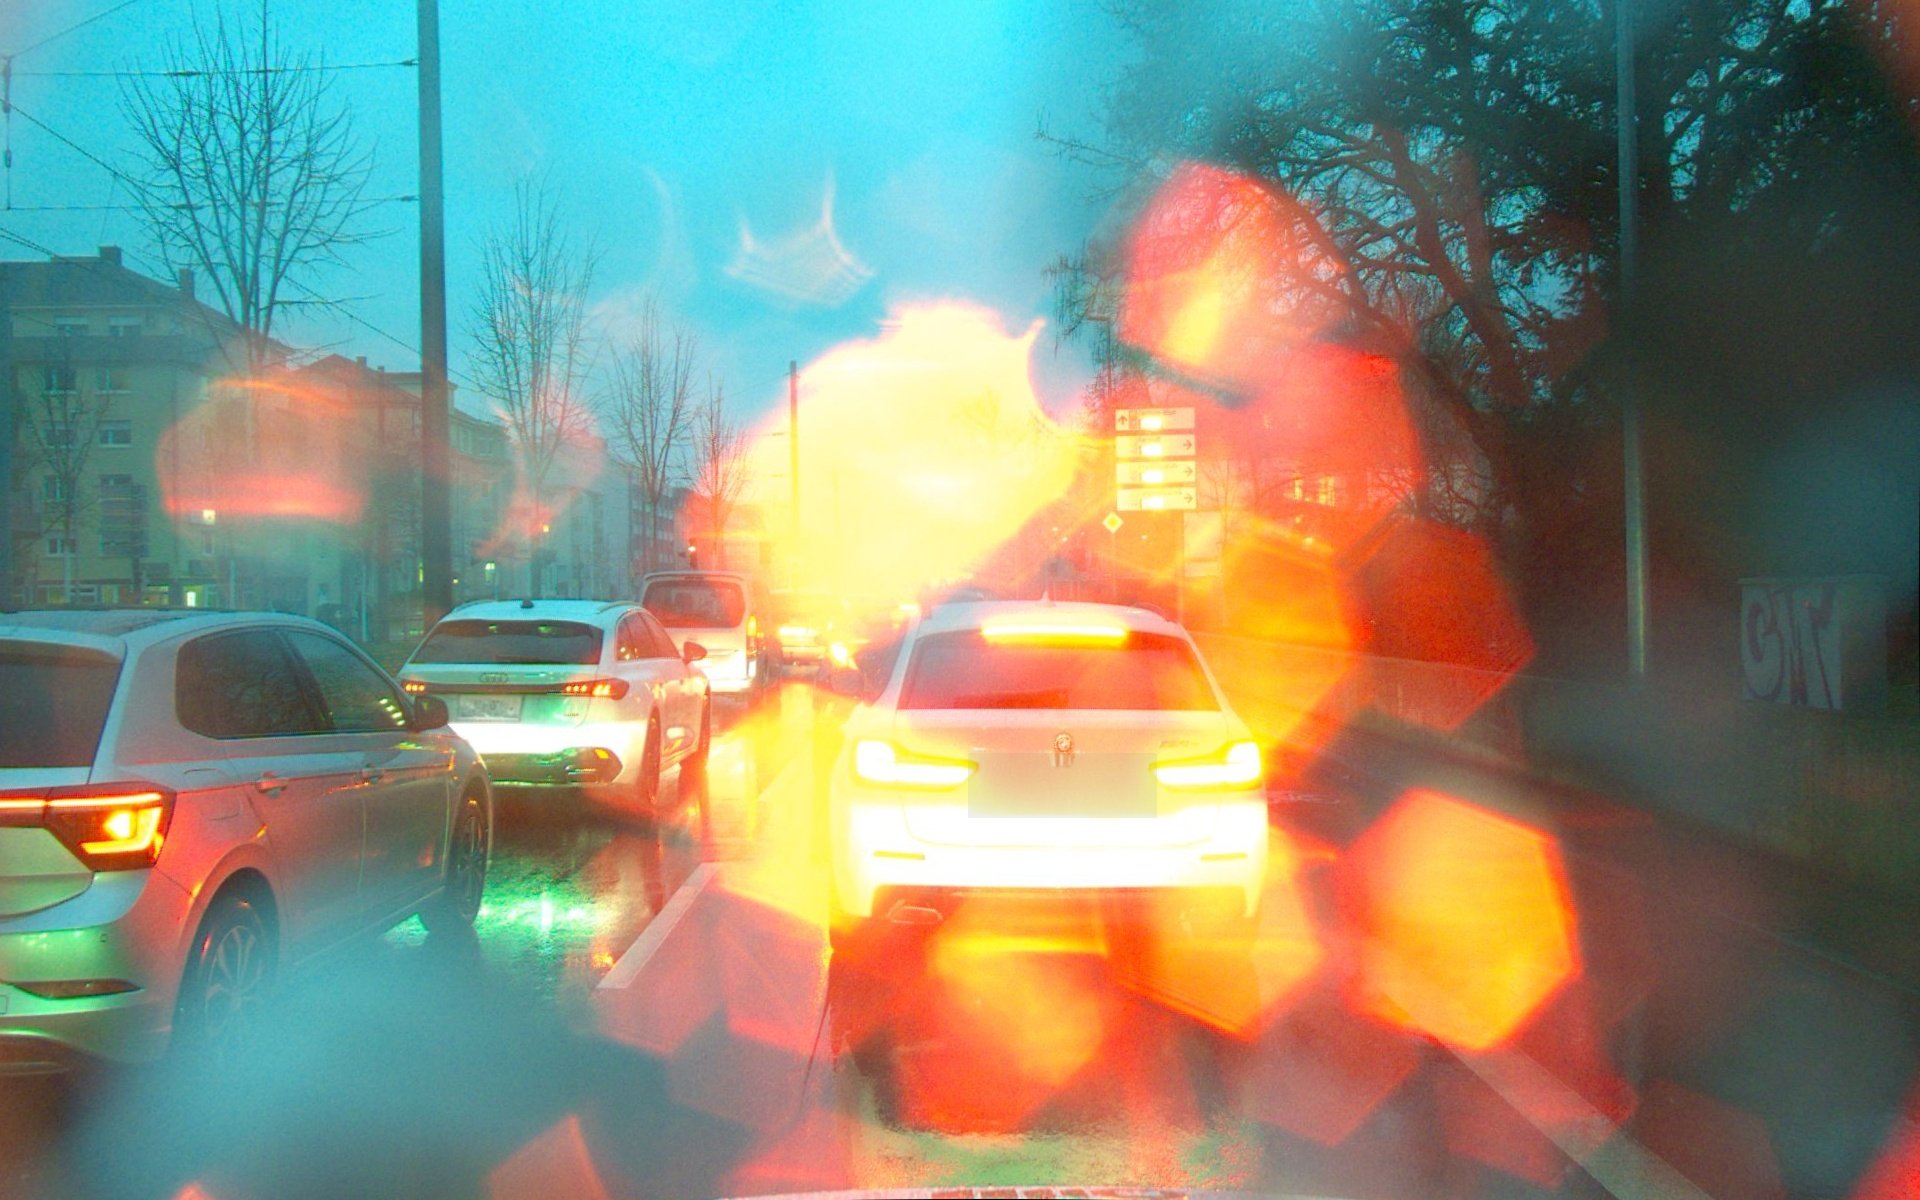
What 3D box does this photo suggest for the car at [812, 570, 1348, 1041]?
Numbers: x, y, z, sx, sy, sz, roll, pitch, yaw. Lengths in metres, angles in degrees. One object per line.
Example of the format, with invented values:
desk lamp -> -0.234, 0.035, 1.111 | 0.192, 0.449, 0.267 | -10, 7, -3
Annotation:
car -> 0.381, 0.693, 8.175 | 1.825, 1.583, 4.937 | -1, 0, -1

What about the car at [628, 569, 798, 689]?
car -> -3.272, 0.349, 22.653 | 1.702, 1.444, 4.393 | -1, 0, -1

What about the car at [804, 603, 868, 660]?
car -> -3.020, 0.748, 40.758 | 1.335, 1.339, 2.716 | 1, 0, 0

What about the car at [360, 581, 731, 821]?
car -> -2.962, 0.630, 12.851 | 1.762, 1.492, 4.585 | -1, 0, -1

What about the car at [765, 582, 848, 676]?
car -> -2.886, 0.540, 31.499 | 1.476, 1.681, 2.842 | 1, 0, -4

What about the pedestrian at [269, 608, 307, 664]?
pedestrian -> -24.894, 1.316, 61.249 | 1.060, 2.049, 0.994 | -1, 0, -38

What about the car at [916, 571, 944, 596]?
car -> -1.835, -0.999, 101.717 | 1.702, 1.444, 4.145 | -1, 0, -1

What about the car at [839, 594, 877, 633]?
car -> -3.647, 0.474, 59.219 | 1.336, 1.339, 2.714 | 1, 0, -3

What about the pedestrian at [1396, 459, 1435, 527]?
pedestrian -> 14.305, -3.350, 51.947 | 0.939, 2.049, 1.008 | -1, 0, 3

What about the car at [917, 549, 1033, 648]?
car -> 0.202, -0.028, 26.572 | 1.702, 1.444, 3.702 | -1, 0, -1

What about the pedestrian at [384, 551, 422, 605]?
pedestrian -> -21.645, -0.852, 64.278 | 1.253, 2.049, 1.000 | -1, 0, -25

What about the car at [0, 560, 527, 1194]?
car -> -2.918, 0.667, 6.057 | 1.658, 1.560, 3.999 | 0, 0, -1

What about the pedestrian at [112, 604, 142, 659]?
pedestrian -> -31.591, 1.201, 62.741 | 0.993, 2.049, 0.953 | -1, 0, -28

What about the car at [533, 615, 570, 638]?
car -> -24.184, 1.562, 98.045 | 1.659, 1.300, 4.142 | -1, 0, -7

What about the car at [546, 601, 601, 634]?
car -> -19.639, 0.867, 84.267 | 1.953, 1.630, 3.998 | 1, 0, -2

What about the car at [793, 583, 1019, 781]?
car -> -0.450, 0.644, 14.975 | 1.763, 1.537, 3.894 | -1, 0, -1

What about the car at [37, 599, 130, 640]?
car -> -43.746, 0.964, 82.617 | 3.679, 1.976, 1.838 | 1, 0, -9
